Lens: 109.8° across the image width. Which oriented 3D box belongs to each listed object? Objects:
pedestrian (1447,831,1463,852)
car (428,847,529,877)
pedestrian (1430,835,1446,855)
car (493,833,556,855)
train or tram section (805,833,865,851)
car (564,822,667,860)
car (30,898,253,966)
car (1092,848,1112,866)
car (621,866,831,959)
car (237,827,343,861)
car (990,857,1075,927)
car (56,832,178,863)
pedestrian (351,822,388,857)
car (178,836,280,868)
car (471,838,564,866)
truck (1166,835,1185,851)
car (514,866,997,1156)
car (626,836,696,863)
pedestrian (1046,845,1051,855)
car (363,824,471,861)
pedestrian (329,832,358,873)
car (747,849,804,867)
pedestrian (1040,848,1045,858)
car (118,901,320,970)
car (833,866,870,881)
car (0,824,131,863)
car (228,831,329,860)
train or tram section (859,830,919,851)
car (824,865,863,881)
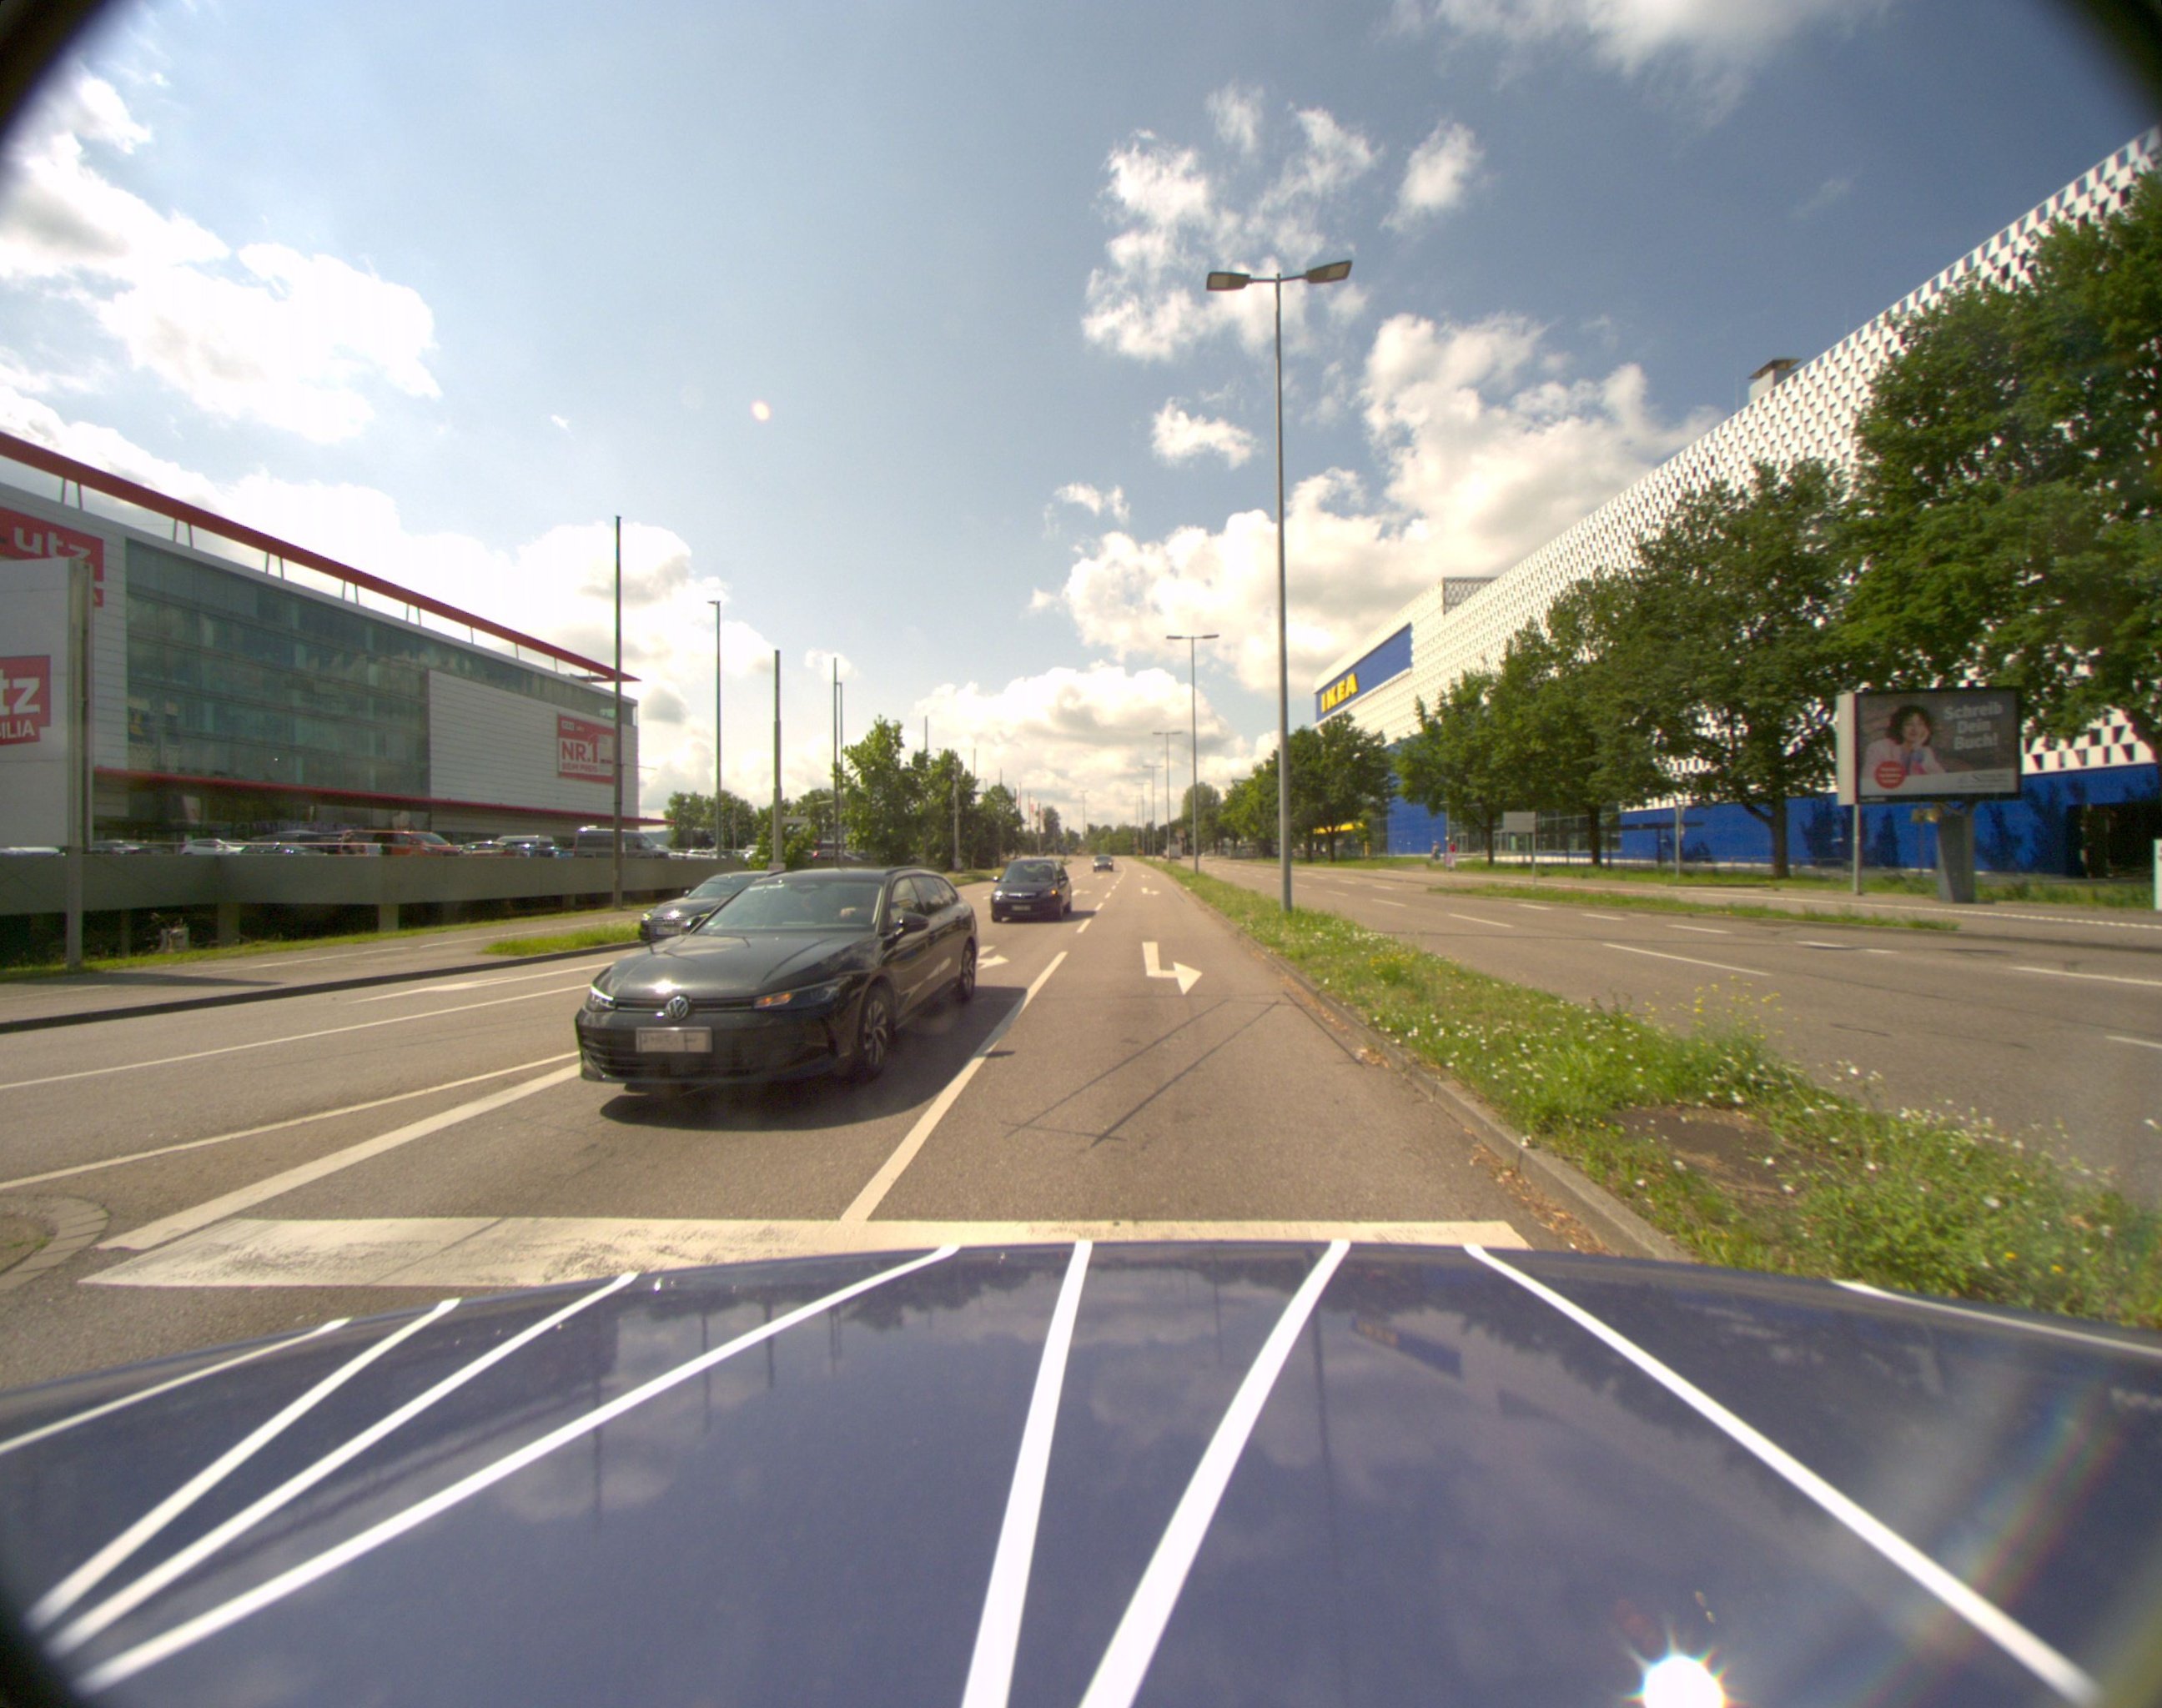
[{"bbox_3d":[32.085,-1.072,65.151,0.853,1.718,1.165,-2,2,7],"label":"pedestrian"},{"bbox_3d":[-35.327,0.461,44.626,4.419,1.596,1.955,-2,1,3],"label":"car"},{"bbox_3d":[30.770,-0.764,65.530,0.853,1.718,1.165,-2,2,7],"label":"pedestrian"},{"bbox_3d":[-48.292,-0.898,65.989,3.996,1.740,1.916,-2,2,3],"label":"car"},{"bbox_3d":[-58.985,-2.954,182.246,13.094,4.346,3.732,0,2,2],"label":"train or tram section"},{"bbox_3d":[-31.283,-0.888,51.179,5.794,2.270,1.749,-2,2,1],"label":"car"},{"bbox_3d":[-31.326,2.530,25.595,1.998,1.740,4.363,-2,1,1],"label":"car"},{"bbox_3d":[1.882,0.238,67.183,1.606,1.521,4.270,-1,0,4],"label":"car"},{"bbox_3d":[-7.031,1.072,15.721,1.777,1.469,4.680,-2,1,5],"label":"car"},{"bbox_3d":[-44.463,-0.559,42.756,3.996,1.740,1.916,-2,2,3],"label":"car"},{"bbox_3d":[-1.138,0.881,19.497,1.606,1.521,4.270,-1,0,4],"label":"car"},{"bbox_3d":[-50.649,-0.328,39.968,4.419,1.462,1.560,-2,1,1],"label":"car"},{"bbox_3d":[-35.929,-0.733,38.377,1.020,1.733,0.706,-3,2,-9],"label":"pedestrian"},{"bbox_3d":[-50.693,-0.123,45.262,3.996,1.740,1.916,-2,2,3],"label":"car"},{"bbox_3d":[-35.086,-0.121,47.372,4.418,1.596,1.955,-2,1,5],"label":"car"},{"bbox_3d":[17.319,-2.008,139.304,2.971,2.736,5.784,-2,1,2],"label":"truck"},{"bbox_3d":[-2.159,0.953,6.929,1.812,1.469,5.205,-2,1,4],"label":"car"},{"bbox_3d":[-30.228,-0.347,54.753,3.995,1.784,1.750,-2,2,5],"label":"car"},{"bbox_3d":[-6.166,-0.785,144.789,0.528,1.803,0.675,-4,2,-36],"label":"pedestrian"},{"bbox_3d":[-34.663,-0.588,39.705,4.183,1.740,1.917,-2,2,9],"label":"car"},{"bbox_3d":[-36.802,-0.072,37.935,0.913,2.002,0.705,-4,2,-41],"label":"pedestrian"},{"bbox_3d":[-28.704,0.358,71.460,4.419,1.596,1.955,-2,1,3],"label":"car"},{"bbox_3d":[-7.366,-0.244,144.728,0.705,1.803,0.544,-3,2,-33],"label":"pedestrian"},{"bbox_3d":[-28.122,2.582,25.016,1.998,1.740,3.999,-2,1,1],"label":"car"},{"bbox_3d":[-30.753,2.559,102.045,4.419,1.754,1.559,-2,2,1],"label":"car"},{"bbox_3d":[-50.494,-0.522,37.828,3.996,1.740,1.916,-2,2,3],"label":"car"},{"bbox_3d":[-50.045,-0.531,47.419,4.418,1.596,1.955,-2,1,5],"label":"car"},{"bbox_3d":[-45.828,-3.217,181.840,13.094,4.646,3.732,-2,2,2],"label":"train or tram section"},{"bbox_3d":[-30.637,2.467,98.127,4.419,1.754,1.559,-2,2,1],"label":"car"}]
